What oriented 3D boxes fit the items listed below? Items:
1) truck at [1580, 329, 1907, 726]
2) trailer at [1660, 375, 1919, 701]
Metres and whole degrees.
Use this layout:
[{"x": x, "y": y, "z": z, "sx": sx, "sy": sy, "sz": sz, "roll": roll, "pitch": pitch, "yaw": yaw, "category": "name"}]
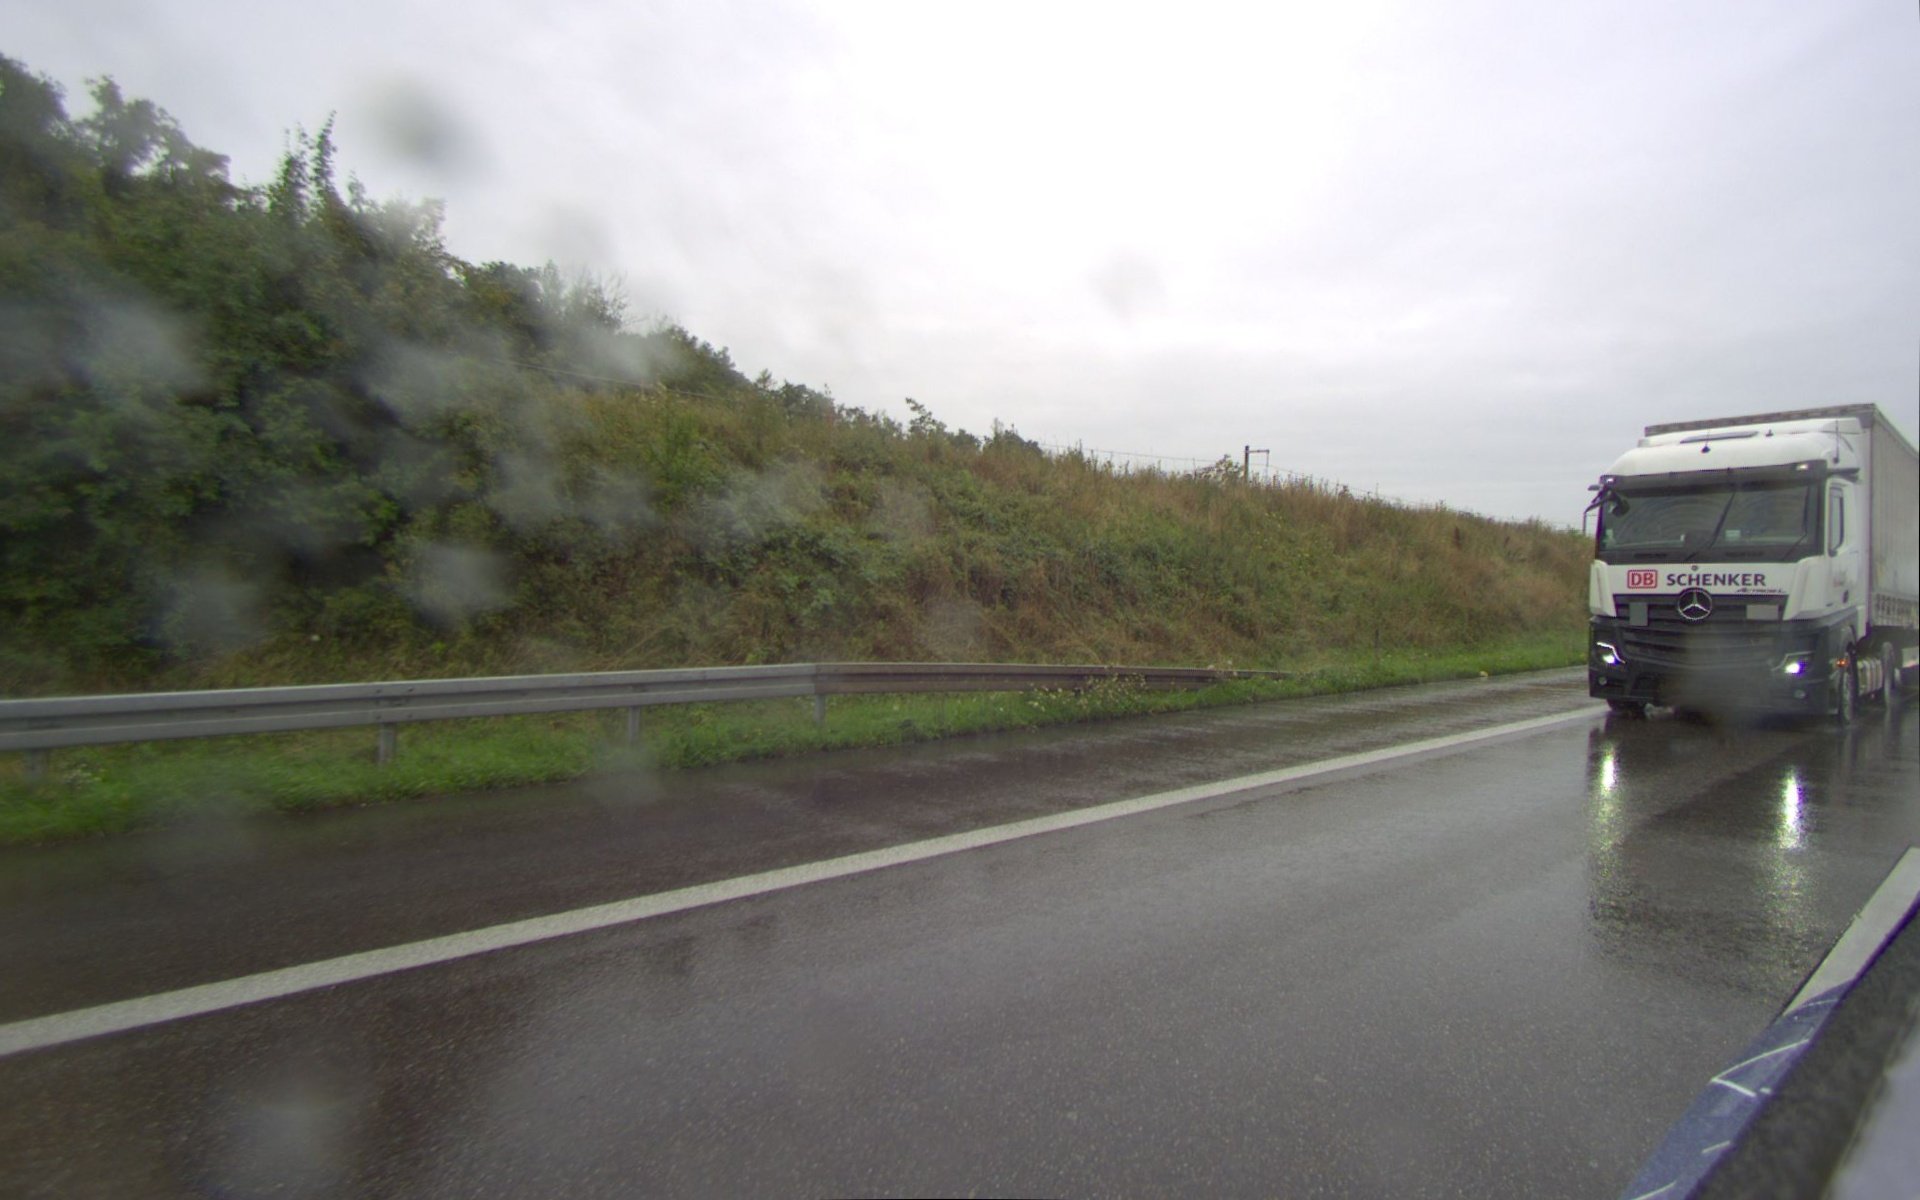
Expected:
[{"x": 10.648, "y": -0.816, "z": 13.615, "sx": 4.956, "sy": 4.307, "sz": 2.630, "roll": 0, "pitch": 0, "yaw": -42, "category": "truck"}, {"x": 16.728, "y": -0.877, "z": 18.959, "sx": 13.929, "sy": 4.302, "sz": 2.631, "roll": 0, "pitch": 0, "yaw": -41, "category": "trailer"}]
